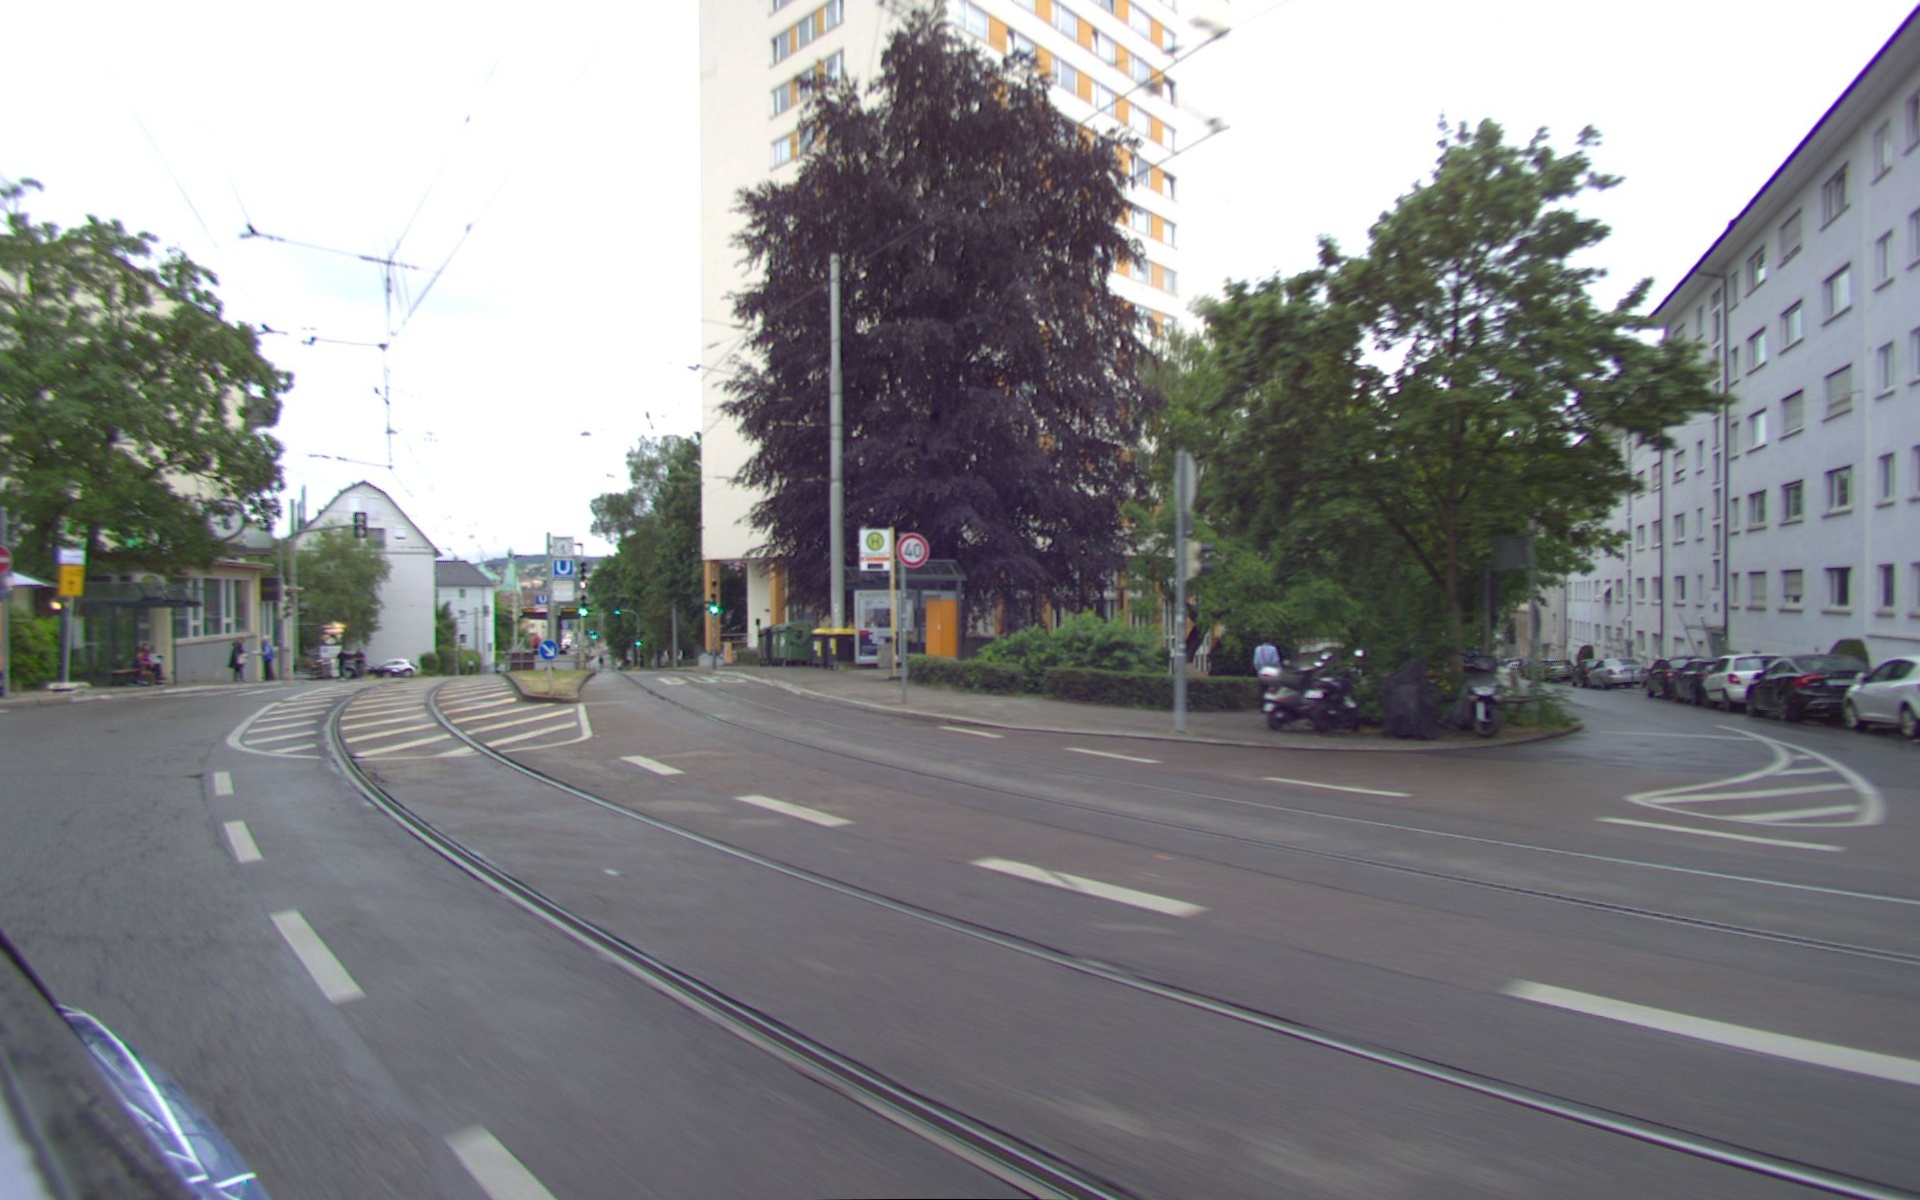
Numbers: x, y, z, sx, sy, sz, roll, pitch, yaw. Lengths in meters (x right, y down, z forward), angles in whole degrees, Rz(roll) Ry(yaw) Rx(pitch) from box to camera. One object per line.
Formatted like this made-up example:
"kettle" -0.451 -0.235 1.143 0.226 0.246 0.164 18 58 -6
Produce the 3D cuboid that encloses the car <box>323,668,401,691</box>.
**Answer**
"car" -45.742 6.064 77.562 4.862 1.447 1.980 -2 -2 -20

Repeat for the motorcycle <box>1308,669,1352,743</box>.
"motorcycle" 6.134 1.726 16.842 0.481 1.057 2.112 -4 -3 16

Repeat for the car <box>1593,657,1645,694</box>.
"car" 30.435 3.467 46.802 1.454 1.477 3.387 -5 -3 25

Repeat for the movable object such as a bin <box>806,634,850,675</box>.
"movable object such as a bin" -4.024 1.666 30.726 1.006 1.147 1.347 -2 -3 -19

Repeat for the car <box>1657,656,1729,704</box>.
"car" 24.599 2.637 34.055 1.388 1.452 3.035 -1 -2 26

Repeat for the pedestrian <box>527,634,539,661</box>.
"pedestrian" -25.997 2.891 61.562 0.661 1.560 0.774 0 -5 -22

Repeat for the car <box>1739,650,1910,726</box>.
"car" 19.039 1.875 22.486 1.692 1.452 3.723 -1 -2 21

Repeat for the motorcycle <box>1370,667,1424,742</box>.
"motorcycle" 7.086 1.663 16.476 0.481 1.057 2.112 -4 -3 16

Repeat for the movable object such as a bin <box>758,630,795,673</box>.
"movable object such as a bin" -6.433 1.806 35.383 1.006 1.445 1.359 -2 -3 -19

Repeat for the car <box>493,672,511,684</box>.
"car" -55.902 9.519 123.491 1.697 1.369 4.012 -1 -4 -20

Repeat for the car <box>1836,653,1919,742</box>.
"car" 17.447 1.706 17.995 1.608 1.452 3.723 -1 -2 21

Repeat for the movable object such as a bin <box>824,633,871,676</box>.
"movable object such as a bin" -3.241 1.569 28.942 1.006 1.147 1.347 -2 -3 -19

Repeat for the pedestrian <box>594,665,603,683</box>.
"pedestrian" -34.648 7.095 97.105 0.742 1.606 0.619 -2 -3 -19

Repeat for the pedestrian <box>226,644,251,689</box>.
"pedestrian" -25.331 2.326 35.518 0.538 1.566 0.560 2 -5 -23

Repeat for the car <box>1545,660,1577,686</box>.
"car" 37.012 4.479 62.331 1.388 1.452 3.035 -1 -2 26

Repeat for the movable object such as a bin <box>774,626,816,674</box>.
"movable object such as a bin" -5.250 1.590 32.171 1.006 1.445 1.431 -2 -3 -19

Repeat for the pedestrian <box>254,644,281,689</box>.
"pedestrian" -24.496 2.351 35.817 0.580 1.566 0.652 2 -5 -21

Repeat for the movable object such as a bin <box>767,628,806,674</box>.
"movable object such as a bin" -5.815 1.707 33.883 1.006 1.445 1.448 -2 -3 -19

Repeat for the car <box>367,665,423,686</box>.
"car" -46.598 6.217 83.549 3.930 1.477 1.823 0 2 -26

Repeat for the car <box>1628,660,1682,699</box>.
"car" 29.431 3.338 42.939 1.388 1.452 3.035 -1 -2 26

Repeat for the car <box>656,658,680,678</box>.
"car" -27.595 6.445 95.616 1.721 1.730 4.455 0 -4 -22

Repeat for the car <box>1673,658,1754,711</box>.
"car" 23.072 2.556 31.089 1.388 1.452 3.035 -1 -2 26

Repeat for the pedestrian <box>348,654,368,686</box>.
"pedestrian" -33.161 3.853 55.776 0.709 1.727 0.610 1 -5 -12

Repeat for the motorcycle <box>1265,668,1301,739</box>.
"motorcycle" 5.430 1.710 17.095 0.481 1.057 2.112 -3 -3 16

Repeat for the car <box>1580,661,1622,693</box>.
"car" 32.078 3.812 50.701 1.388 1.452 3.035 -1 -2 26

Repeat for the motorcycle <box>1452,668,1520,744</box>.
"motorcycle" 8.340 1.652 16.117 0.481 1.057 2.112 -4 -3 16

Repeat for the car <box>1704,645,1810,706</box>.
"car" 21.327 1.976 27.207 1.518 1.452 3.295 -1 -2 26

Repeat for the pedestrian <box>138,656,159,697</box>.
"pedestrian" -23.197 2.196 28.933 0.320 1.159 0.318 3 -5 -25

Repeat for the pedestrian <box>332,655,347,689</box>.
"pedestrian" -32.500 3.765 53.015 0.571 1.727 0.616 -2 -3 -25

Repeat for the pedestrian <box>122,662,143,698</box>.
"pedestrian" -23.257 2.249 28.458 0.320 1.003 0.318 3 -5 -25

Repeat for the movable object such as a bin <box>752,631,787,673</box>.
"movable object such as a bin" -6.923 1.896 36.693 1.006 1.445 1.308 -2 -3 -19

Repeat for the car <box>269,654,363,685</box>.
"car" -38.007 4.143 59.851 4.268 1.687 1.786 3 -6 -19

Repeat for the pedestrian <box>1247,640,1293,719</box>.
"pedestrian" 6.836 1.734 22.346 0.560 1.697 0.778 2 -3 -28
